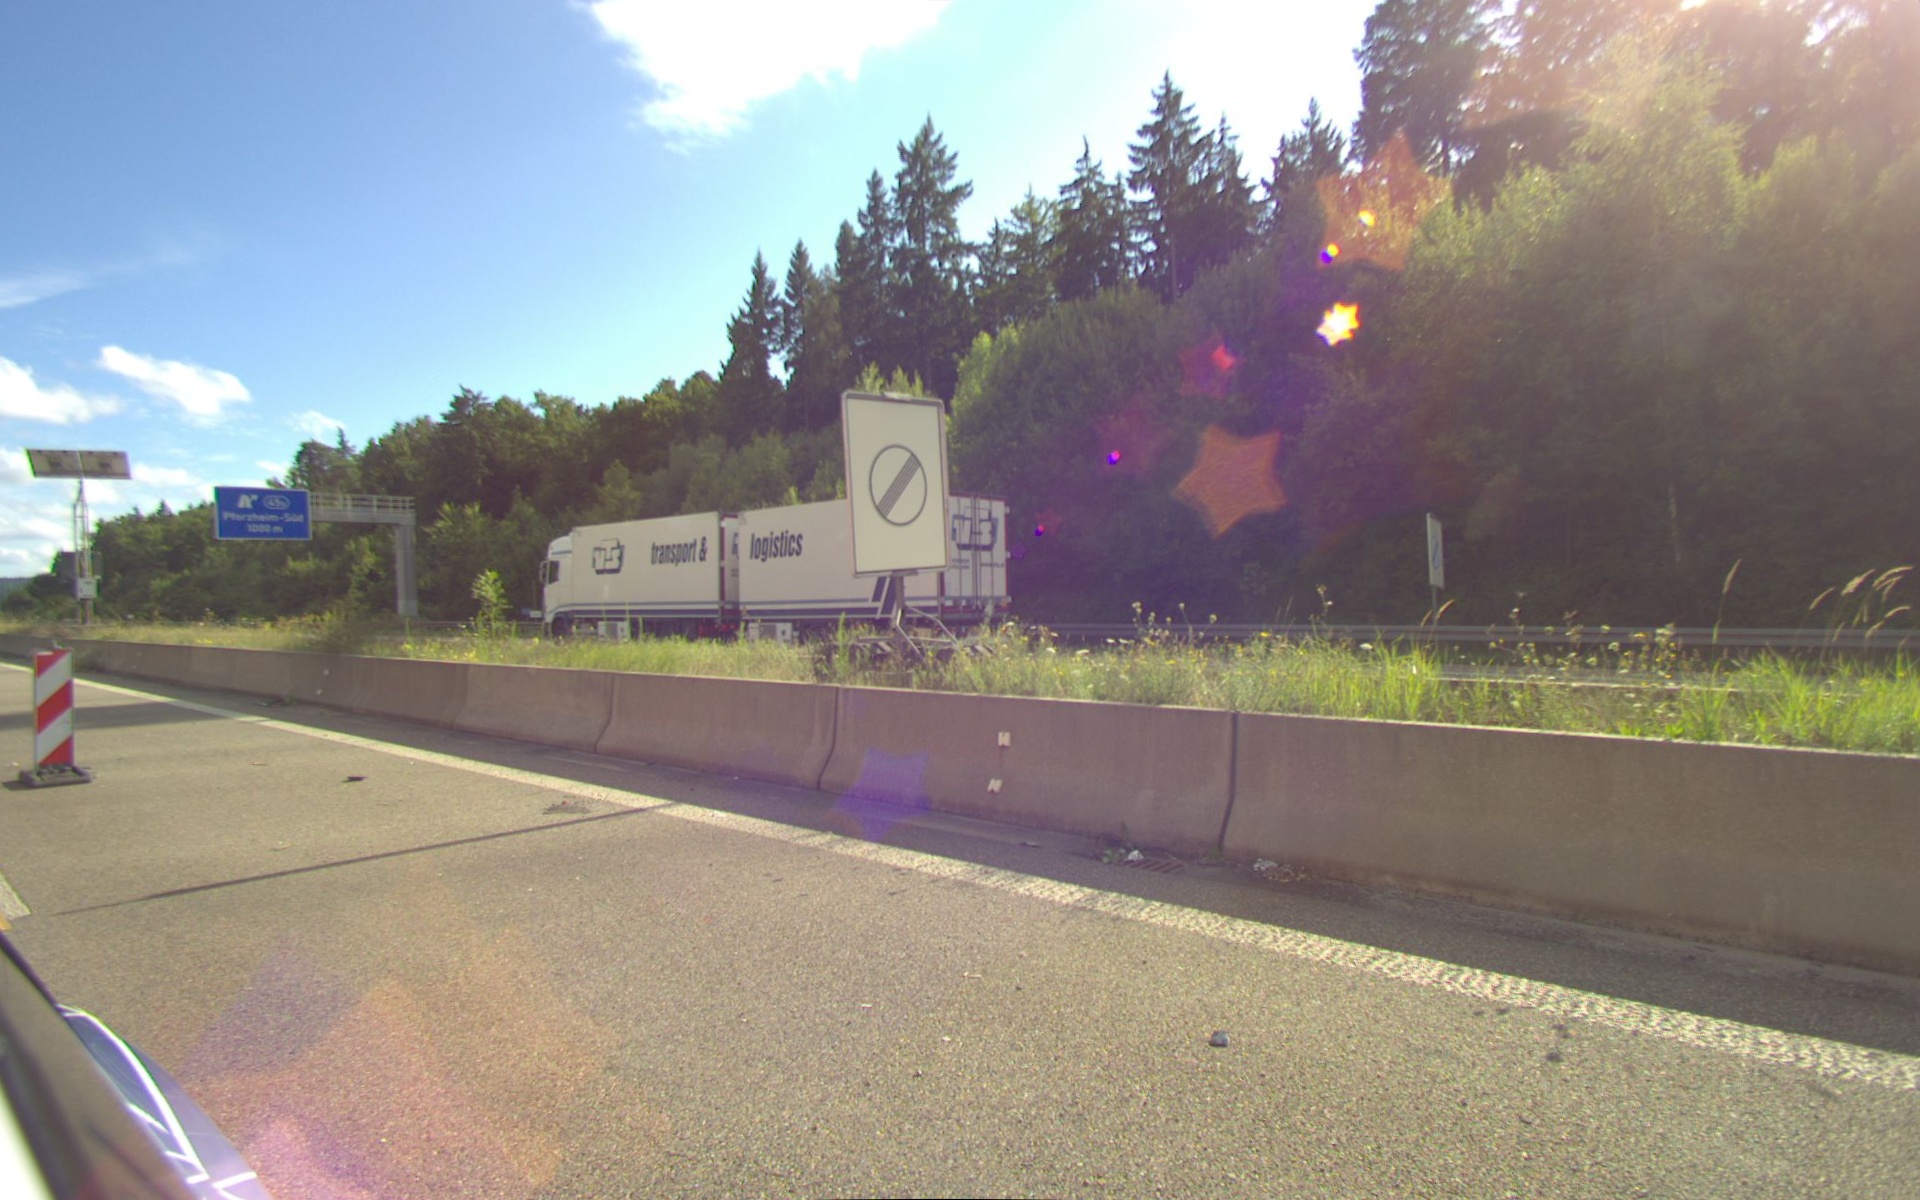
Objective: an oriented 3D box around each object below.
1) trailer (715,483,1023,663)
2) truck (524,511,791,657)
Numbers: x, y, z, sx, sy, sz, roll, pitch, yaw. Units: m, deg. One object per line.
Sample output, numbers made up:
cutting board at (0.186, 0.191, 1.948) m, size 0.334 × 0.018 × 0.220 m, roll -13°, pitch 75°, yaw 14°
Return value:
trailer at (-2.611, -0.580, 26.103) m, size 8.483 × 3.953 × 2.762 m, roll -1°, pitch 0°, yaw 41°
truck at (-10.026, -0.423, 32.492) m, size 10.855 × 4.015 × 2.754 m, roll -1°, pitch 0°, yaw 41°
